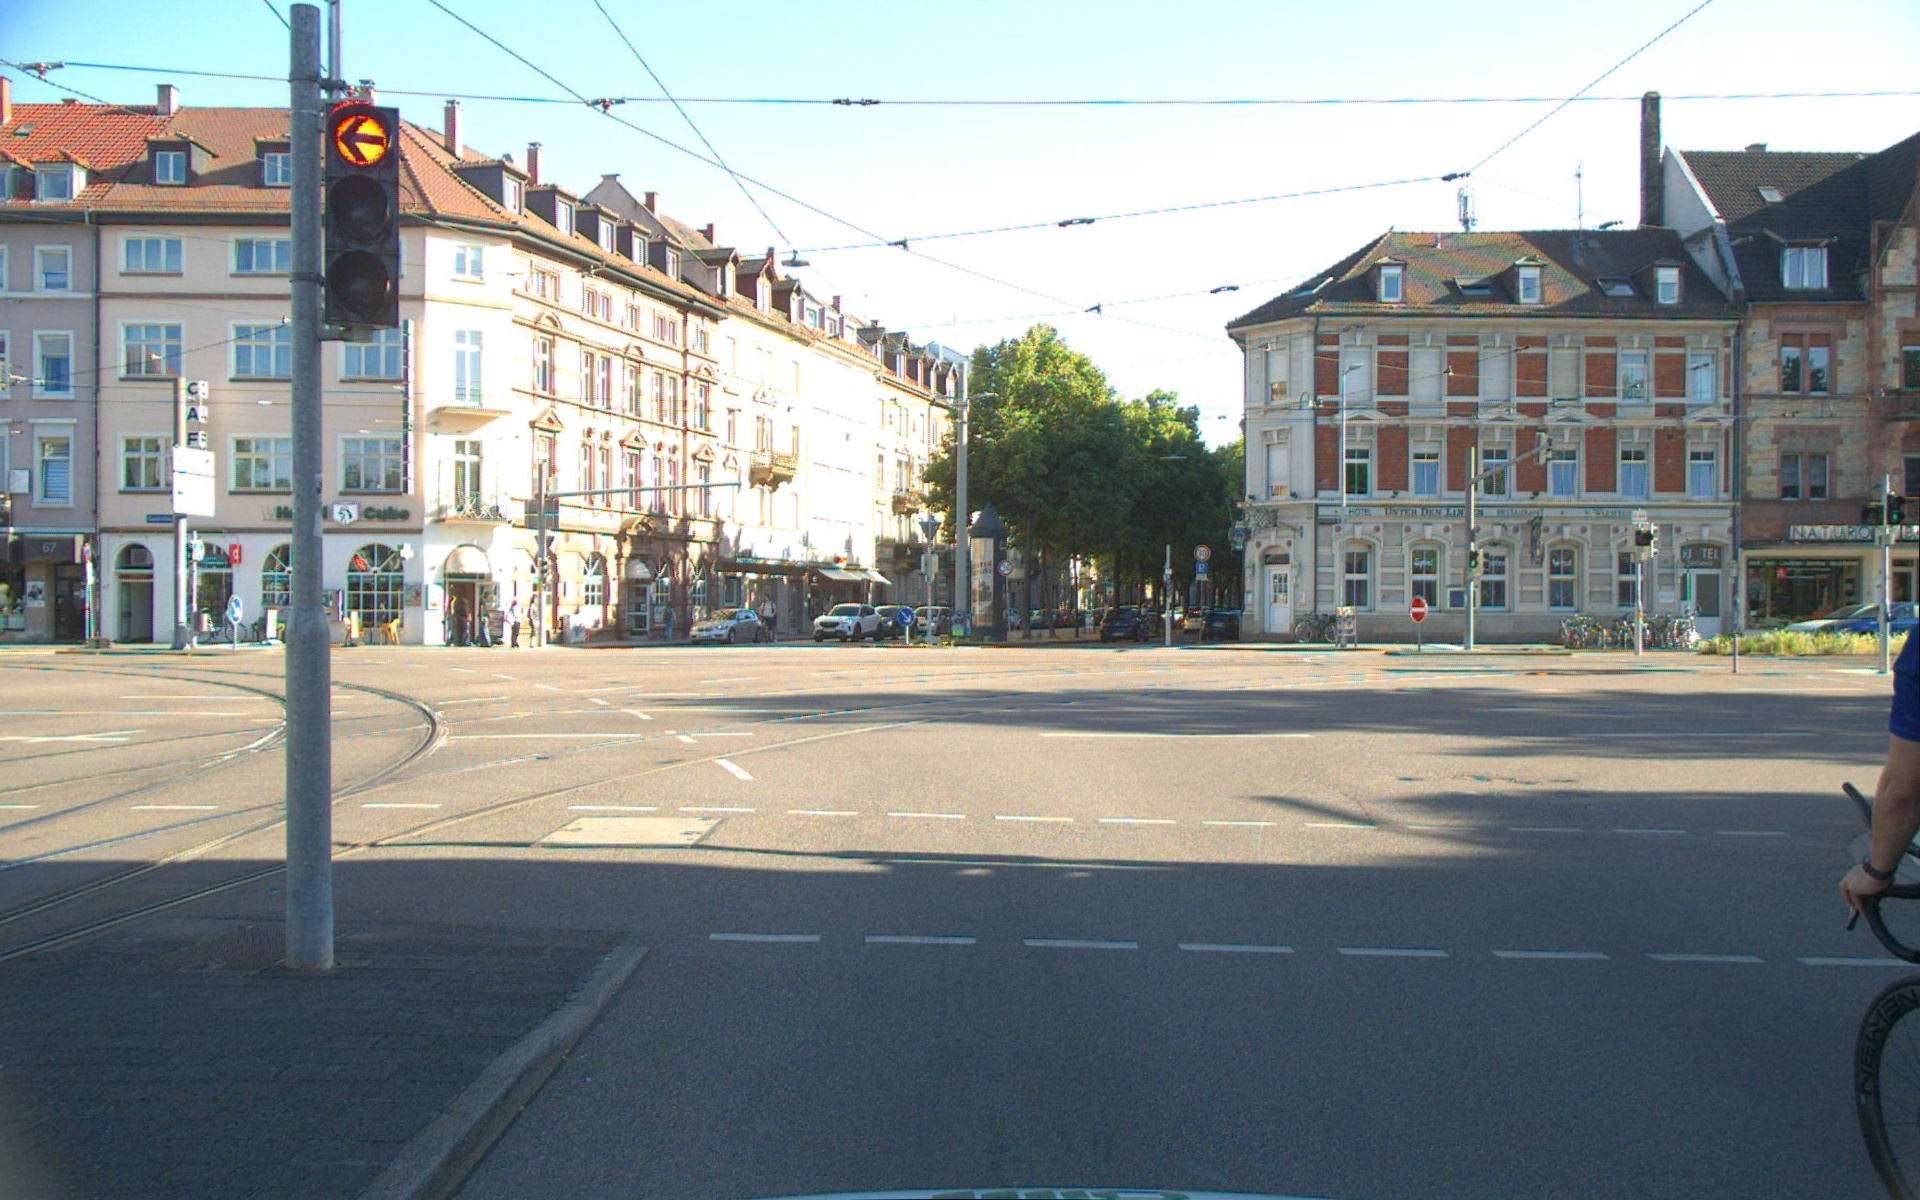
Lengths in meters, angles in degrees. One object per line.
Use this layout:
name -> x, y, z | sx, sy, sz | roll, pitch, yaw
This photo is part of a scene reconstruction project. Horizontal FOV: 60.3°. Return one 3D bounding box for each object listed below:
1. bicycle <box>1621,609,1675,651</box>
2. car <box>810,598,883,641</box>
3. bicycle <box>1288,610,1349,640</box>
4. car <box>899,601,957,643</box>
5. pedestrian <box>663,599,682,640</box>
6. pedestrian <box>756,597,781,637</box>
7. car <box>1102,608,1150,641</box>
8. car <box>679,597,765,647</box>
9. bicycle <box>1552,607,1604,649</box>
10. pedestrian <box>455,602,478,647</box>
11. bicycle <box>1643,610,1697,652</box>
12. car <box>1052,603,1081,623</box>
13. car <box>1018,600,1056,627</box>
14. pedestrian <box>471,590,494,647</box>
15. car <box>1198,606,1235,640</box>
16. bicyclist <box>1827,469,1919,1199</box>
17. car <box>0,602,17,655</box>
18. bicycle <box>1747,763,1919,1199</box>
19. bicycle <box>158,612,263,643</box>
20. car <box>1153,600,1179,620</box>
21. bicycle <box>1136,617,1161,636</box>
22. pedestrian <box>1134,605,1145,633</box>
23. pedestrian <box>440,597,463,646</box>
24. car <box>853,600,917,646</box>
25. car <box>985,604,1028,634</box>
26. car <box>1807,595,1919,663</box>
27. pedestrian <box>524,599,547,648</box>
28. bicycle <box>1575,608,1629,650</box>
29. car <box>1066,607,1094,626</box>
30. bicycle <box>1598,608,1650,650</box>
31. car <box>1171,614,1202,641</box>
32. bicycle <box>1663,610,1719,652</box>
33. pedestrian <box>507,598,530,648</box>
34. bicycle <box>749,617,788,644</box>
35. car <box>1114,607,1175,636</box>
bicycle -> 22.086, 0.957, 53.141 | 0.615, 1.309, 2.661 | 1, 0, 0
car -> -4.565, 0.792, 67.222 | 1.951, 1.646, 4.003 | 1, 0, 11
bicycle -> 12.409, 0.857, 57.260 | 2.006, 1.015, 0.631 | 1, 0, 2
car -> -1.526, 1.064, 79.671 | 1.951, 1.937, 4.003 | 1, 0, 11
pedestrian -> -11.914, 0.807, 68.525 | 0.532, 1.660, 0.707 | 1, -1, 13
pedestrian -> -7.538, 0.664, 65.078 | 0.803, 1.539, 0.598 | 1, -1, 14
car -> 7.483, 1.091, 74.198 | 1.716, 1.386, 3.859 | 1, 0, 12
car -> -9.591, 0.873, 66.955 | 1.951, 1.937, 4.002 | 1, 0, 17
bicycle -> 19.817, 0.873, 53.088 | 0.678, 1.309, 2.661 | 1, 0, 0
pedestrian -> -16.552, 0.828, 55.457 | 0.620, 1.502, 0.465 | 1, -1, -5
bicycle -> 22.801, 0.968, 53.165 | 0.615, 1.309, 2.661 | 1, 0, 0
car -> 8.501, 1.053, 132.176 | 1.526, 1.540, 3.658 | 1, 0, 16
car -> 5.724, 1.016, 122.542 | 1.951, 1.937, 4.002 | 1, 0, 16
pedestrian -> -16.246, 0.632, 56.312 | 0.620, 1.914, 0.465 | 1, -1, -5
car -> 12.872, 1.138, 82.766 | 1.655, 1.592, 3.844 | 1, 0, 11
bicyclist -> 2.216, 0.506, 3.186 | 0.625, 1.520, 0.884 | 1, 1, 3
car -> -32.384, 0.912, 52.422 | 3.902, 1.699, 2.002 | 0, 0, 8
bicycle -> 2.203, 0.951, 3.176 | 0.613, 1.104, 1.703 | 1, 0, 2
bicycle -> -25.514, 0.940, 56.343 | 3.066, 0.997, 1.001 | 1, 0, -1
car -> 16.815, 0.830, 134.905 | 1.526, 1.540, 3.658 | 1, 0, 16
bicycle -> 11.286, 1.567, 99.214 | 0.619, 1.104, 1.685 | 1, 0, -31
pedestrian -> 11.636, 1.216, 107.161 | 0.626, 1.827, 0.491 | 1, -1, 12
pedestrian -> -17.306, 0.720, 56.264 | 0.620, 1.640, 0.465 | 1, -1, -5
car -> -3.303, 1.008, 73.578 | 1.951, 1.937, 4.003 | 1, 0, 11
car -> 3.186, 1.284, 112.727 | 1.951, 1.937, 4.002 | 1, 0, 16
car -> 25.933, 0.808, 46.039 | 3.706, 1.809, 1.999 | 1, 0, -2
pedestrian -> -14.619, 0.801, 56.987 | 0.620, 1.662, 0.700 | 1, -1, -4
bicycle -> 20.598, 0.908, 53.117 | 0.678, 1.309, 2.661 | 1, 0, 0
car -> 9.920, 1.349, 136.282 | 1.526, 1.540, 3.658 | 1, 0, 16
bicycle -> 21.309, 0.926, 53.138 | 0.615, 1.309, 2.661 | 1, 0, 0
car -> 13.719, 1.656, 100.061 | 1.734, 1.557, 4.003 | 1, 0, 10
bicycle -> 23.485, 0.988, 53.164 | 0.615, 1.309, 2.661 | 1, 0, 0
pedestrian -> -14.858, 0.769, 55.662 | 0.620, 1.662, 0.700 | 1, -1, -4
bicycle -> -7.526, 1.203, 65.149 | 0.746, 1.025, 2.398 | 1, 0, 13
car -> 12.856, 1.460, 115.142 | 3.902, 1.937, 2.001 | 1, 0, 15
